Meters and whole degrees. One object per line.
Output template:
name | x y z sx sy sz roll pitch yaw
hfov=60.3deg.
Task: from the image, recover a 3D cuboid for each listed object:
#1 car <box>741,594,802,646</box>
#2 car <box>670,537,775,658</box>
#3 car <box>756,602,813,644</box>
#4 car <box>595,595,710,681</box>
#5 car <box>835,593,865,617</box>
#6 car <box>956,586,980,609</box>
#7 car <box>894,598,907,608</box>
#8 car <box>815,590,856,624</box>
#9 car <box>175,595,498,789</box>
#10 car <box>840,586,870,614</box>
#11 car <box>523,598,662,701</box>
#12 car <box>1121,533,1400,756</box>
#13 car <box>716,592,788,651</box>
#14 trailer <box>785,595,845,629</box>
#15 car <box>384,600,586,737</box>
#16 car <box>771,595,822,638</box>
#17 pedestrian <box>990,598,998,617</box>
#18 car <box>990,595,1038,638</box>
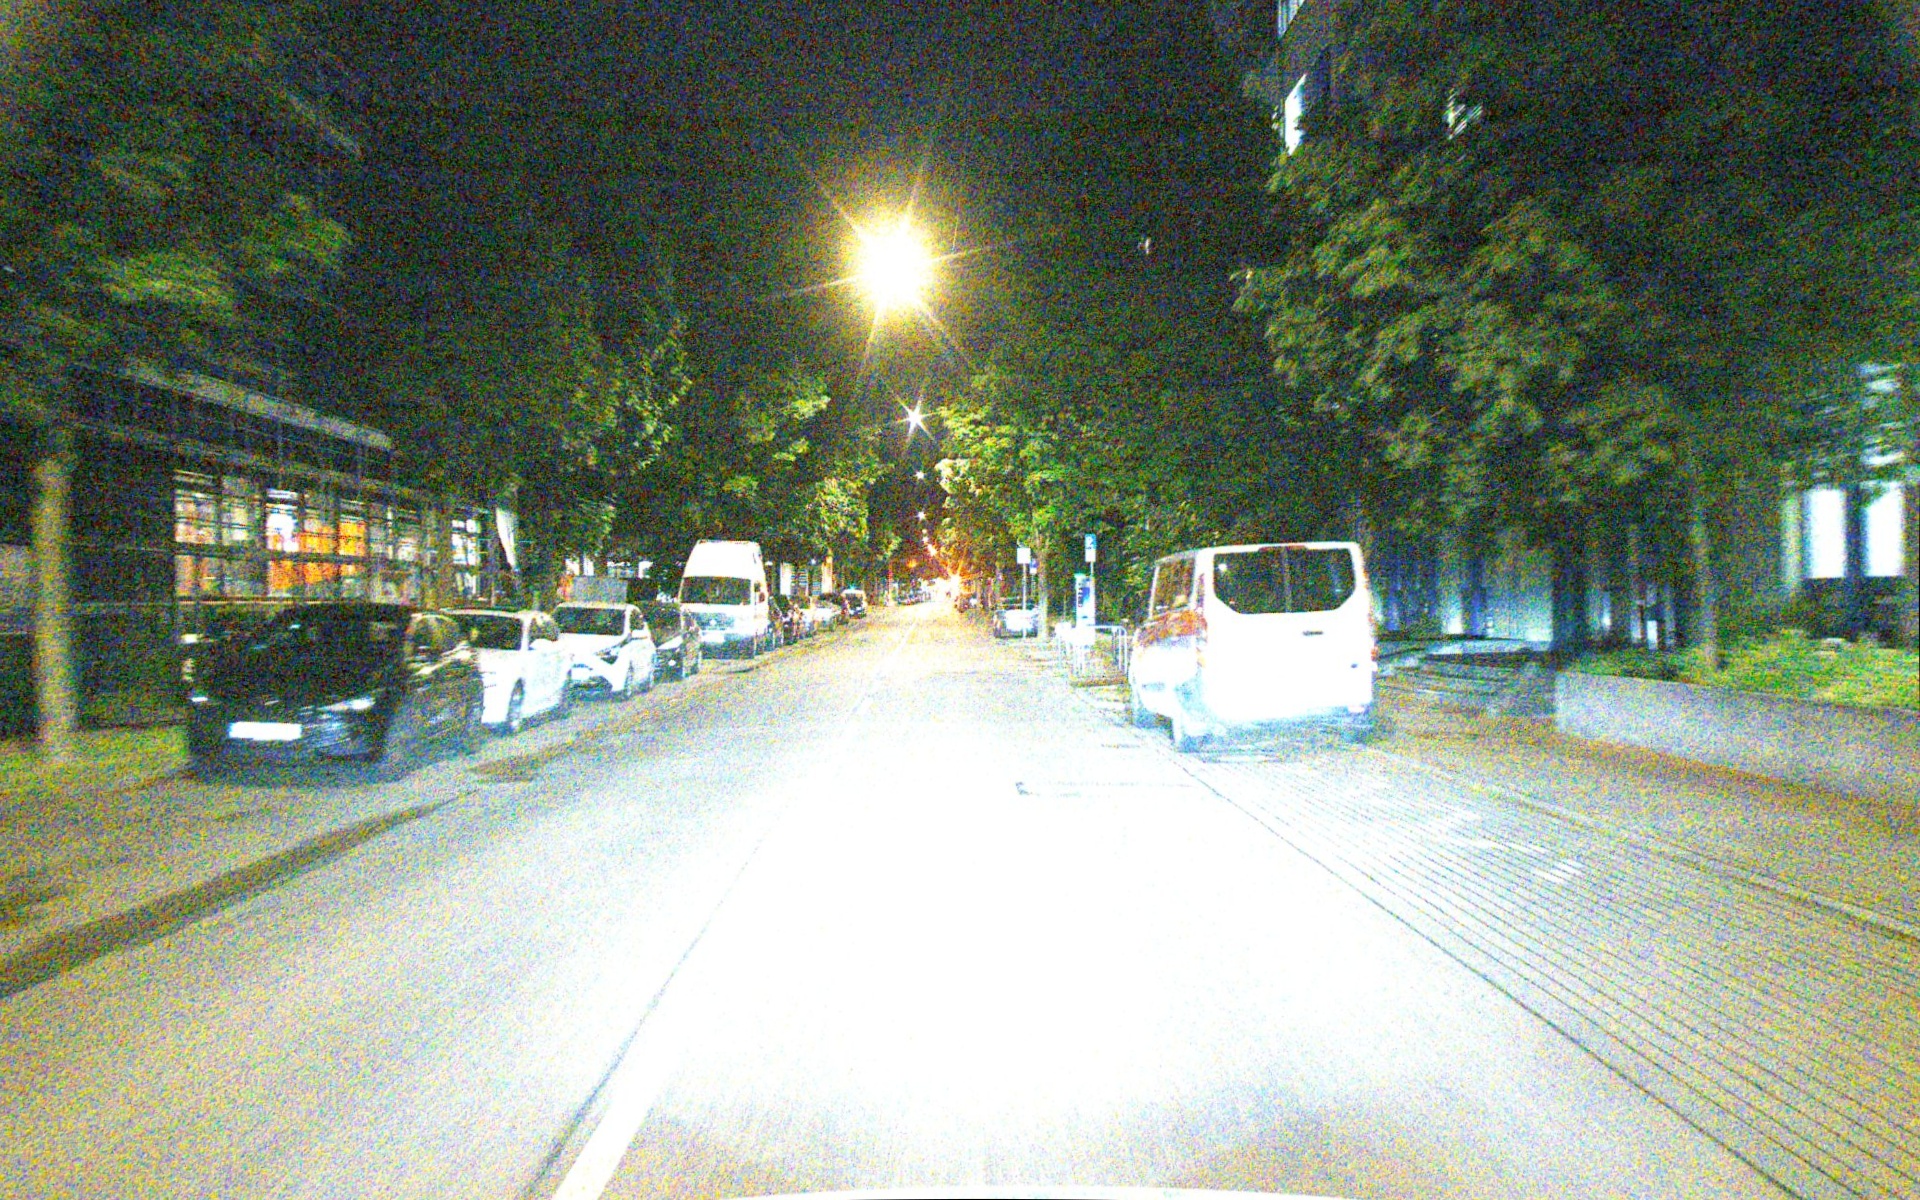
car | -6.166 0.638 54.548 1.707 1.634 4.296 0 0 -3
car | -6.164 -0.070 43.422 2.135 2.960 4.908 1 0 -2
car | -6.302 0.795 59.812 1.670 1.436 4.632 0 0 -1
car | -5.986 0.699 32.570 1.612 1.531 3.859 2 0 -2
car | -7.280 0.313 109.423 1.665 1.458 3.828 3 0 0
car | 0.605 -0.231 130.456 1.815 1.682 4.209 -2 0 0
car | -8.577 0.480 237.646 1.705 1.440 3.751 0 0 -1
car | -6.580 0.349 87.769 1.785 1.626 4.073 3 0 0
car | -5.644 0.747 15.485 1.609 1.531 3.902 2 0 -2
car | -7.427 -0.013 117.489 1.785 1.843 4.210 3 0 0
car | -5.783 0.737 26.331 1.516 1.480 3.367 2 0 -2
car | 3.020 0.400 17.653 1.912 1.998 4.601 -2 0 -2
car | -6.106 0.602 48.900 1.707 1.634 4.114 1 0 -2
trailer | -6.346 0.500 72.801 2.067 1.358 5.435 2 0 0
car | -5.734 0.767 20.395 1.415 1.454 3.902 2 0 -2
car | -6.407 0.623 65.198 1.682 1.528 4.204 2 0 -2
pedestrian | 3.183 0.739 155.125 0.691 1.752 0.821 -2 0 -1
car | 1.924 0.568 59.773 1.634 1.454 4.148 -2 0 1
